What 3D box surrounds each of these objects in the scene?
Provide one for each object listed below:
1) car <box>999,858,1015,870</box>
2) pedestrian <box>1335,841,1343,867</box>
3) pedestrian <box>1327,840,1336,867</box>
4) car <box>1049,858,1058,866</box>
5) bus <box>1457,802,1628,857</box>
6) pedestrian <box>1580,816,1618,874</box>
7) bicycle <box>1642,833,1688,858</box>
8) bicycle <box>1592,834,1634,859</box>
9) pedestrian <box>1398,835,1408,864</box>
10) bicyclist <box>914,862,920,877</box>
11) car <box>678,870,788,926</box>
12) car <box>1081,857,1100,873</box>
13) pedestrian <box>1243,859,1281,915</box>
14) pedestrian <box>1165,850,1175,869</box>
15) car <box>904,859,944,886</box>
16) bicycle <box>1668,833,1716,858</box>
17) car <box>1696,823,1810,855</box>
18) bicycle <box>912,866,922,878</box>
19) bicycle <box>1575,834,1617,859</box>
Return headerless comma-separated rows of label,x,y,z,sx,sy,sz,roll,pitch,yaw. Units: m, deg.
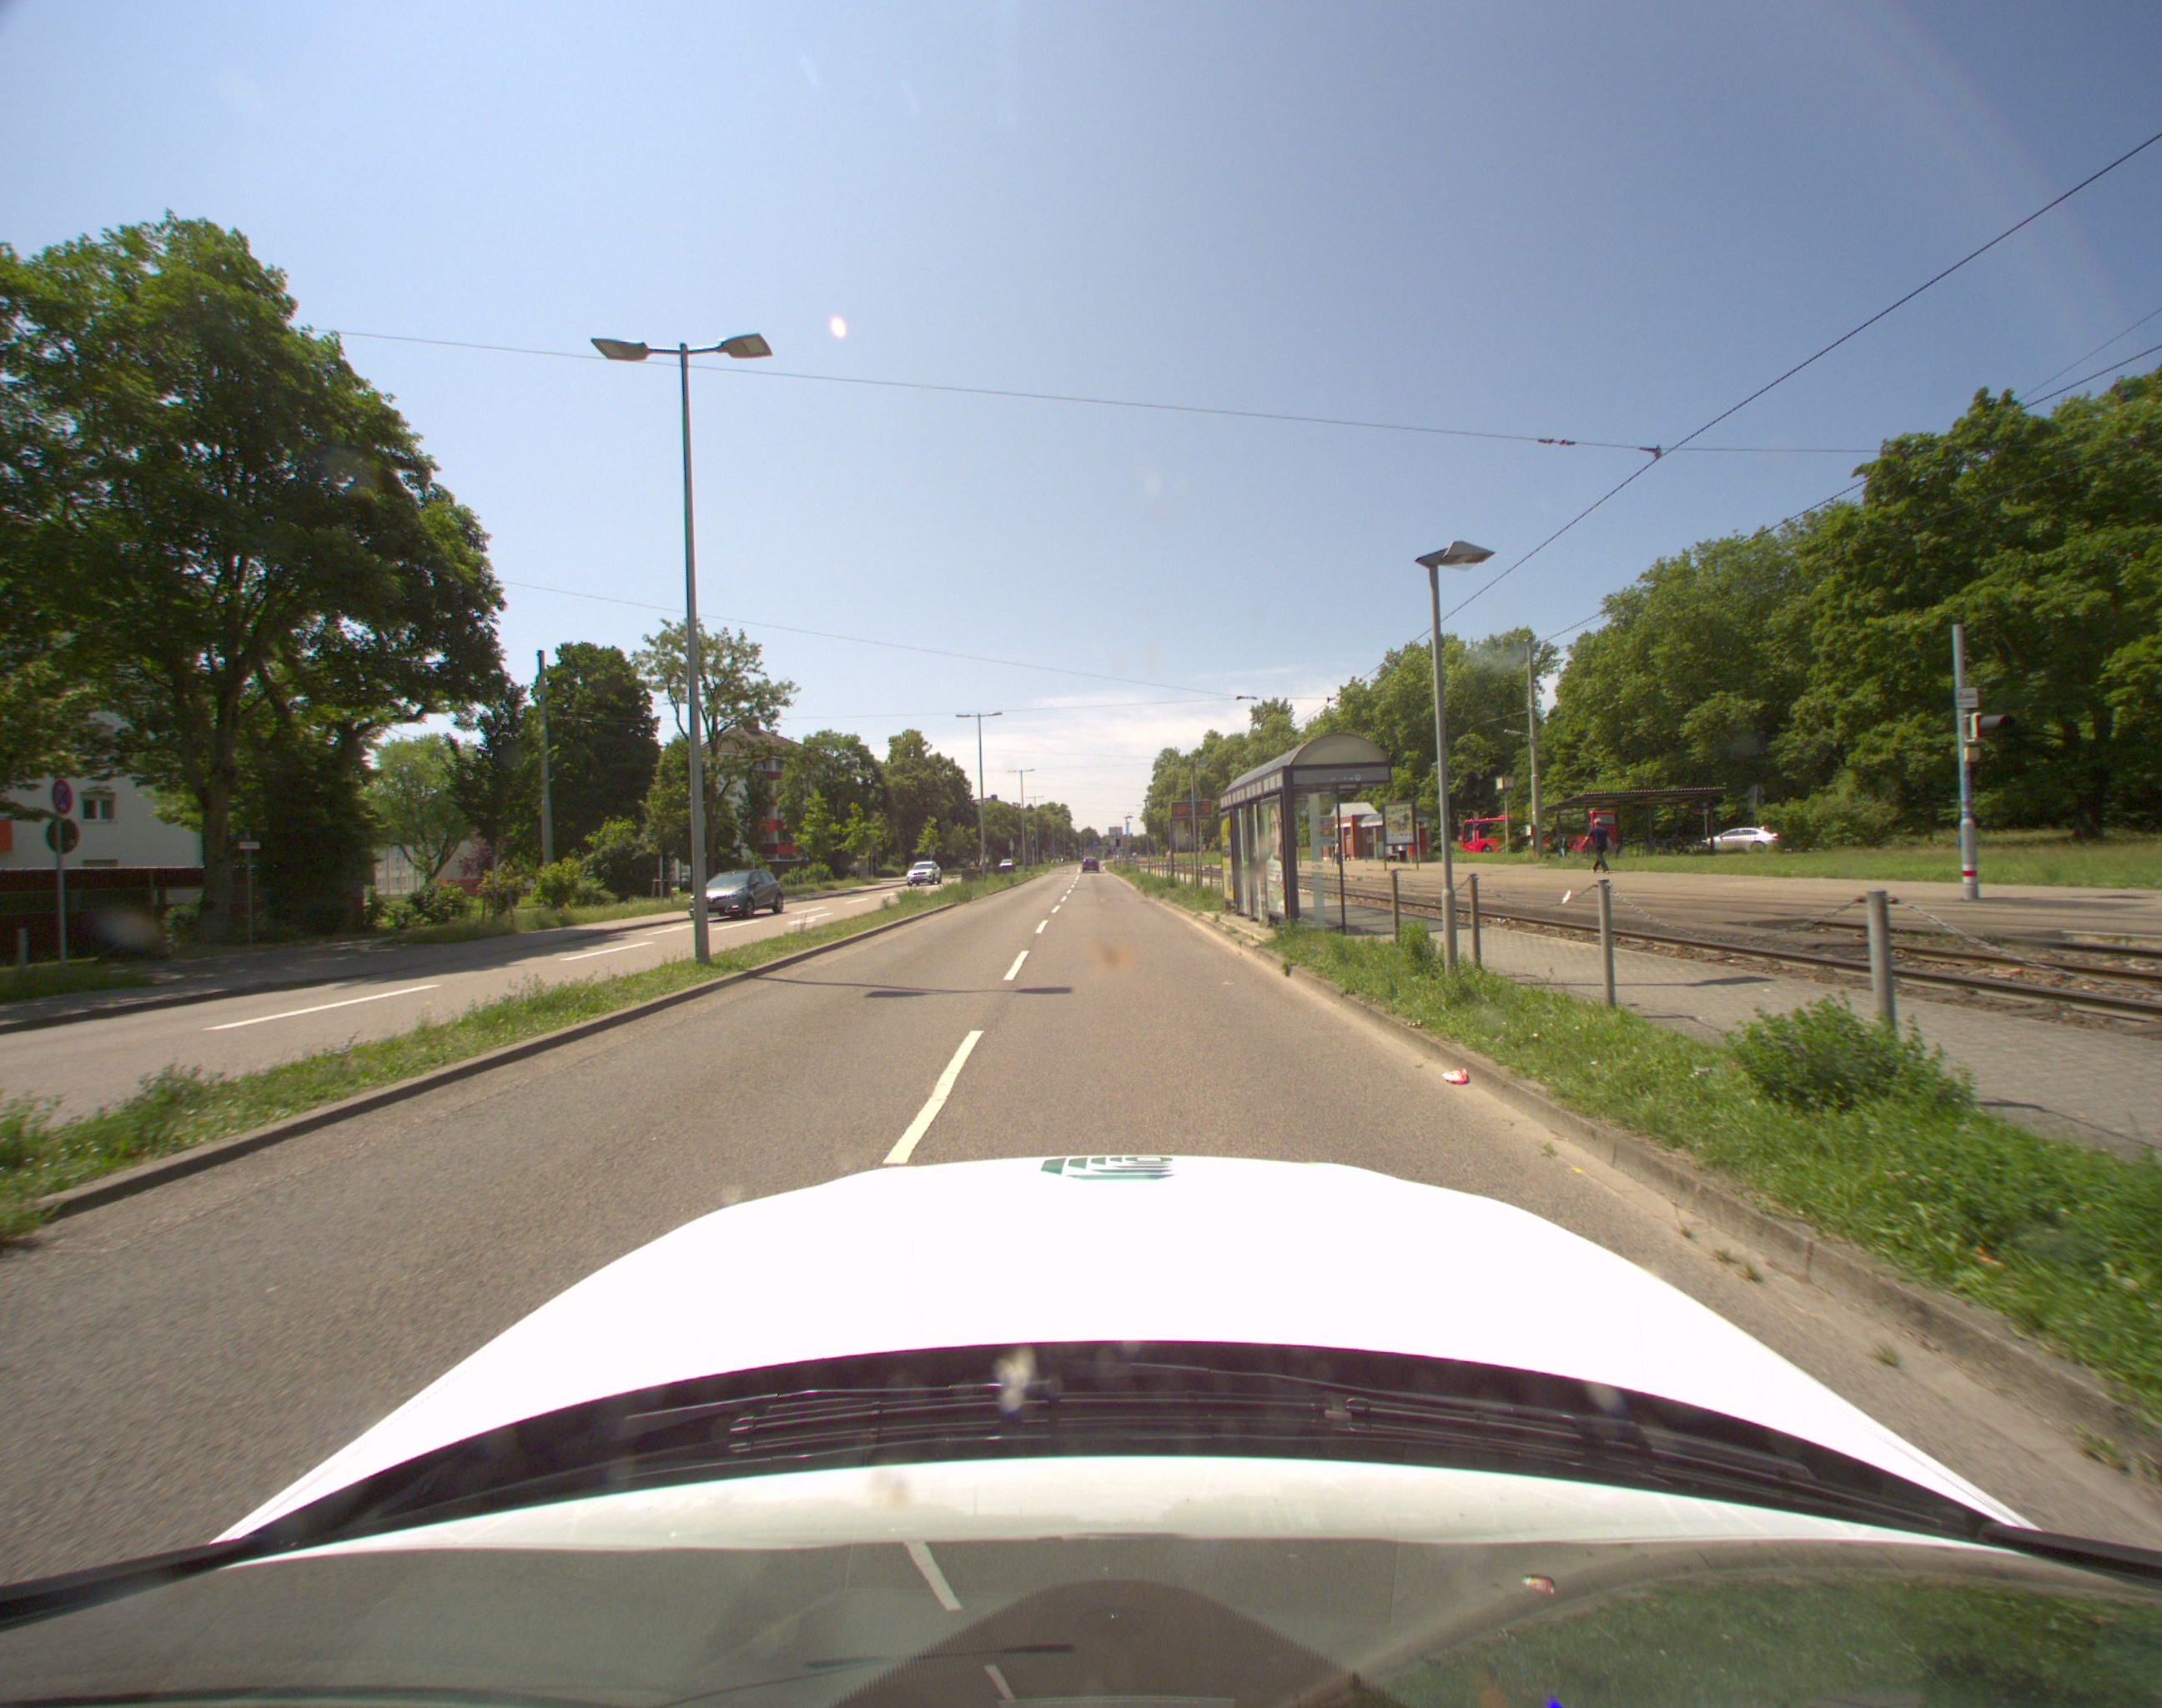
car,-10.592,1.428,116.383,1.815,1.572,4.347,-3,0,0
pedestrian,16.093,-0.004,50.786,0.358,1.597,0.483,-1,-1,3
pedestrian,15.783,-0.037,51.302,0.358,1.646,0.446,-1,-1,3
car,-6.389,1.842,186.622,1.750,1.543,4.162,-3,0,1
bus,33.883,-1.646,60.846,2.768,3.439,12.365,-1,-1,-19
pedestrian,16.309,-0.281,25.653,0.703,1.764,0.658,-3,-1,2
bicycle,27.507,-0.402,38.394,0.595,1.087,2.192,-3,2,1
bicycle,25.065,-0.362,38.417,0.595,1.087,2.192,-3,2,1
pedestrian,18.407,-0.251,46.589,0.358,1.597,0.613,-1,-1,5
bicyclist,-14.999,1.438,74.471,0.356,1.392,0.441,-1,0,3
car,-11.188,1.361,26.474,1.762,1.554,4.081,-4,-1,-1
car,0.920,1.049,78.617,1.697,1.477,3.717,-3,0,1
pedestrian,3.543,0.640,15.977,0.573,1.040,0.579,-3,0,0
pedestrian,8.271,0.497,75.748,0.635,1.759,0.813,-1,-1,-13
car,-11.155,1.334,58.144,1.853,1.758,4.479,-3,-1,0
bicycle,28.668,-0.426,38.249,0.595,1.087,2.192,-3,2,1
car,38.620,-0.817,46.954,2.001,1.629,4.693,-3,0,-20
bicycle,-15.001,1.651,74.512,0.552,1.094,1.380,-1,-1,2
bicycle,24.255,-0.355,38.422,0.595,1.087,2.192,-3,2,1
